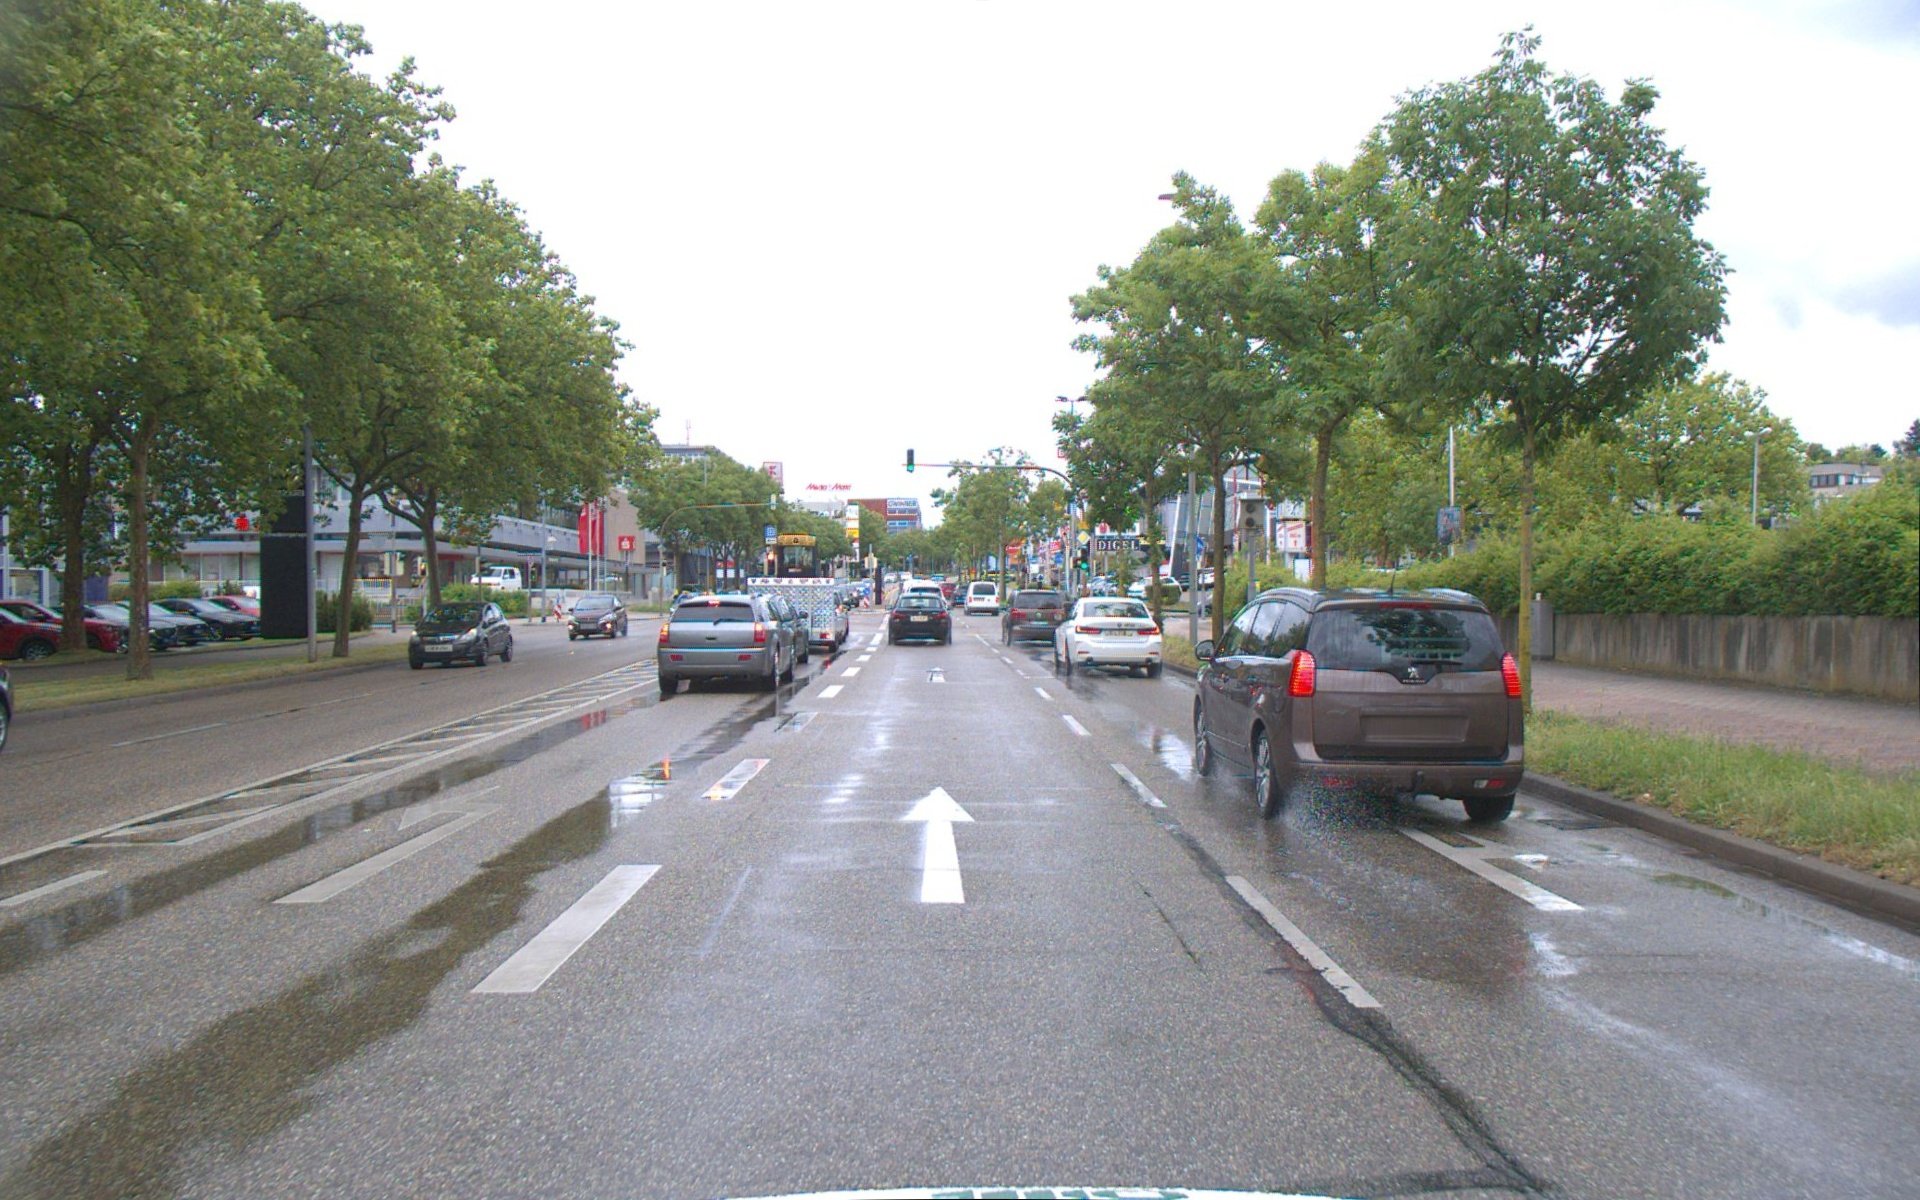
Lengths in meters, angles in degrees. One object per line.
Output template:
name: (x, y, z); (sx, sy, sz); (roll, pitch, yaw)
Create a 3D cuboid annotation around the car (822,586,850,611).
car: (-7.490, -0.106, 99.938); (1.649, 1.401, 3.996); (-1, 1, -5)

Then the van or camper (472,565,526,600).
van or camper: (-27.532, -1.035, 98.858); (1.953, 2.001, 4.787); (1, 0, -2)

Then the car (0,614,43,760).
car: (-10.484, 0.914, 15.157); (1.701, 1.454, 4.536); (-2, 0, -2)

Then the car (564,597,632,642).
car: (-12.889, 0.661, 59.073); (1.676, 1.490, 4.083); (-2, 0, -3)

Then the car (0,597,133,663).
car: (-25.443, 0.849, 46.051); (4.165, 1.682, 1.997); (-2, 0, -25)

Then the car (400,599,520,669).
car: (-11.582, 0.752, 38.558); (1.676, 1.490, 4.083); (-2, 0, -3)

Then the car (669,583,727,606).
car: (-19.104, -0.419, 120.690); (3.916, 1.579, 1.895); (-1, 1, 33)

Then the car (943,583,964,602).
car: (-0.572, -0.609, 139.418); (1.661, 1.468, 3.988); (-1, -1, -1)

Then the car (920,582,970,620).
car: (-0.625, 0.023, 65.466); (1.649, 1.401, 3.996); (-1, 1, -5)

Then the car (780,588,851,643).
car: (-4.164, 0.410, 48.348); (1.730, 1.484, 4.779); (-1, 0, -1)

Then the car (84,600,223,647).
car: (-26.212, 0.765, 53.858); (3.668, 1.415, 1.688); (-1, 1, -6)

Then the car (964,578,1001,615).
car: (1.198, -0.184, 89.300); (1.746, 1.899, 3.999); (-1, 0, -2)

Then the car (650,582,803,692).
car: (-3.725, 0.541, 27.142); (1.868, 1.606, 4.879); (-1, 0, -1)

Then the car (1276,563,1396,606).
car: (13.348, -0.557, 58.874); (3.905, 1.467, 1.655); (-1, 1, 1)

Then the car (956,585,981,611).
car: (0.551, -0.126, 110.554); (1.650, 1.713, 3.402); (1, 0, -1)

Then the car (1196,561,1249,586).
car: (19.647, -1.972, 123.786); (4.117, 1.802, 1.712); (-1, 1, -41)

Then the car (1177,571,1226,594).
car: (19.068, -1.369, 130.449); (3.940, 1.750, 1.609); (-1, 1, -41)

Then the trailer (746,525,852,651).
trailer: (-3.999, -0.291, 42.023); (2.325, 2.947, 5.543); (-1, 0, -3)

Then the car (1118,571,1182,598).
car: (11.810, -0.992, 102.708); (1.896, 1.604, 4.266); (-1, 1, 40)

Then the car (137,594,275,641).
car: (-25.865, 0.575, 56.842); (3.903, 1.515, 1.877); (-1, 1, -6)

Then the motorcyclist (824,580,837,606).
motorcyclist: (-8.181, -0.441, 104.527); (0.790, 1.586, 1.267); (0, 1, -3)

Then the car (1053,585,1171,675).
car: (2.863, 0.524, 32.013); (1.764, 1.571, 4.619); (1, 0, -1)

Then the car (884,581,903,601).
car: (-7.170, -0.924, 178.790); (1.953, 2.049, 3.999); (1, 0, -1)

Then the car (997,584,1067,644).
car: (2.071, 0.371, 48.602); (1.764, 1.614, 4.450); (1, 1, -1)

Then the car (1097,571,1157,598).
car: (11.595, -1.101, 114.685); (3.992, 1.691, 1.953); (-4, 2, -41)

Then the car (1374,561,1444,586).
car: (29.113, -1.724, 107.326); (1.723, 1.506, 4.091); (-1, 1, -41)

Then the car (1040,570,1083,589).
car: (9.627, -1.965, 157.149); (4.024, 1.733, 1.801); (0, 1, 4)

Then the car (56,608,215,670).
car: (-24.820, 1.147, 49.987); (4.165, 1.623, 1.984); (-2, 1, -25)

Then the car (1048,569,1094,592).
car: (10.004, -1.770, 149.892); (4.026, 1.938, 1.800); (-1, 1, 0)

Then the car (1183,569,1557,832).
car: (2.920, 0.627, 12.789); (1.691, 1.652, 4.470); (-1, 0, -1)

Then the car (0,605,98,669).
car: (-24.942, 0.949, 42.799); (4.494, 1.624, 1.985); (0, 0, -24)

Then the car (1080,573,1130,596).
car: (10.593, -1.143, 120.406); (3.567, 1.563, 1.619); (-1, 1, -41)

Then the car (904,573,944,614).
car: (-1.854, -0.314, 84.843); (1.953, 2.049, 3.999); (1, 0, -1)

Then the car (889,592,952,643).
car: (-1.171, 0.476, 48.248); (1.745, 1.422, 3.999); (0, 0, -2)
